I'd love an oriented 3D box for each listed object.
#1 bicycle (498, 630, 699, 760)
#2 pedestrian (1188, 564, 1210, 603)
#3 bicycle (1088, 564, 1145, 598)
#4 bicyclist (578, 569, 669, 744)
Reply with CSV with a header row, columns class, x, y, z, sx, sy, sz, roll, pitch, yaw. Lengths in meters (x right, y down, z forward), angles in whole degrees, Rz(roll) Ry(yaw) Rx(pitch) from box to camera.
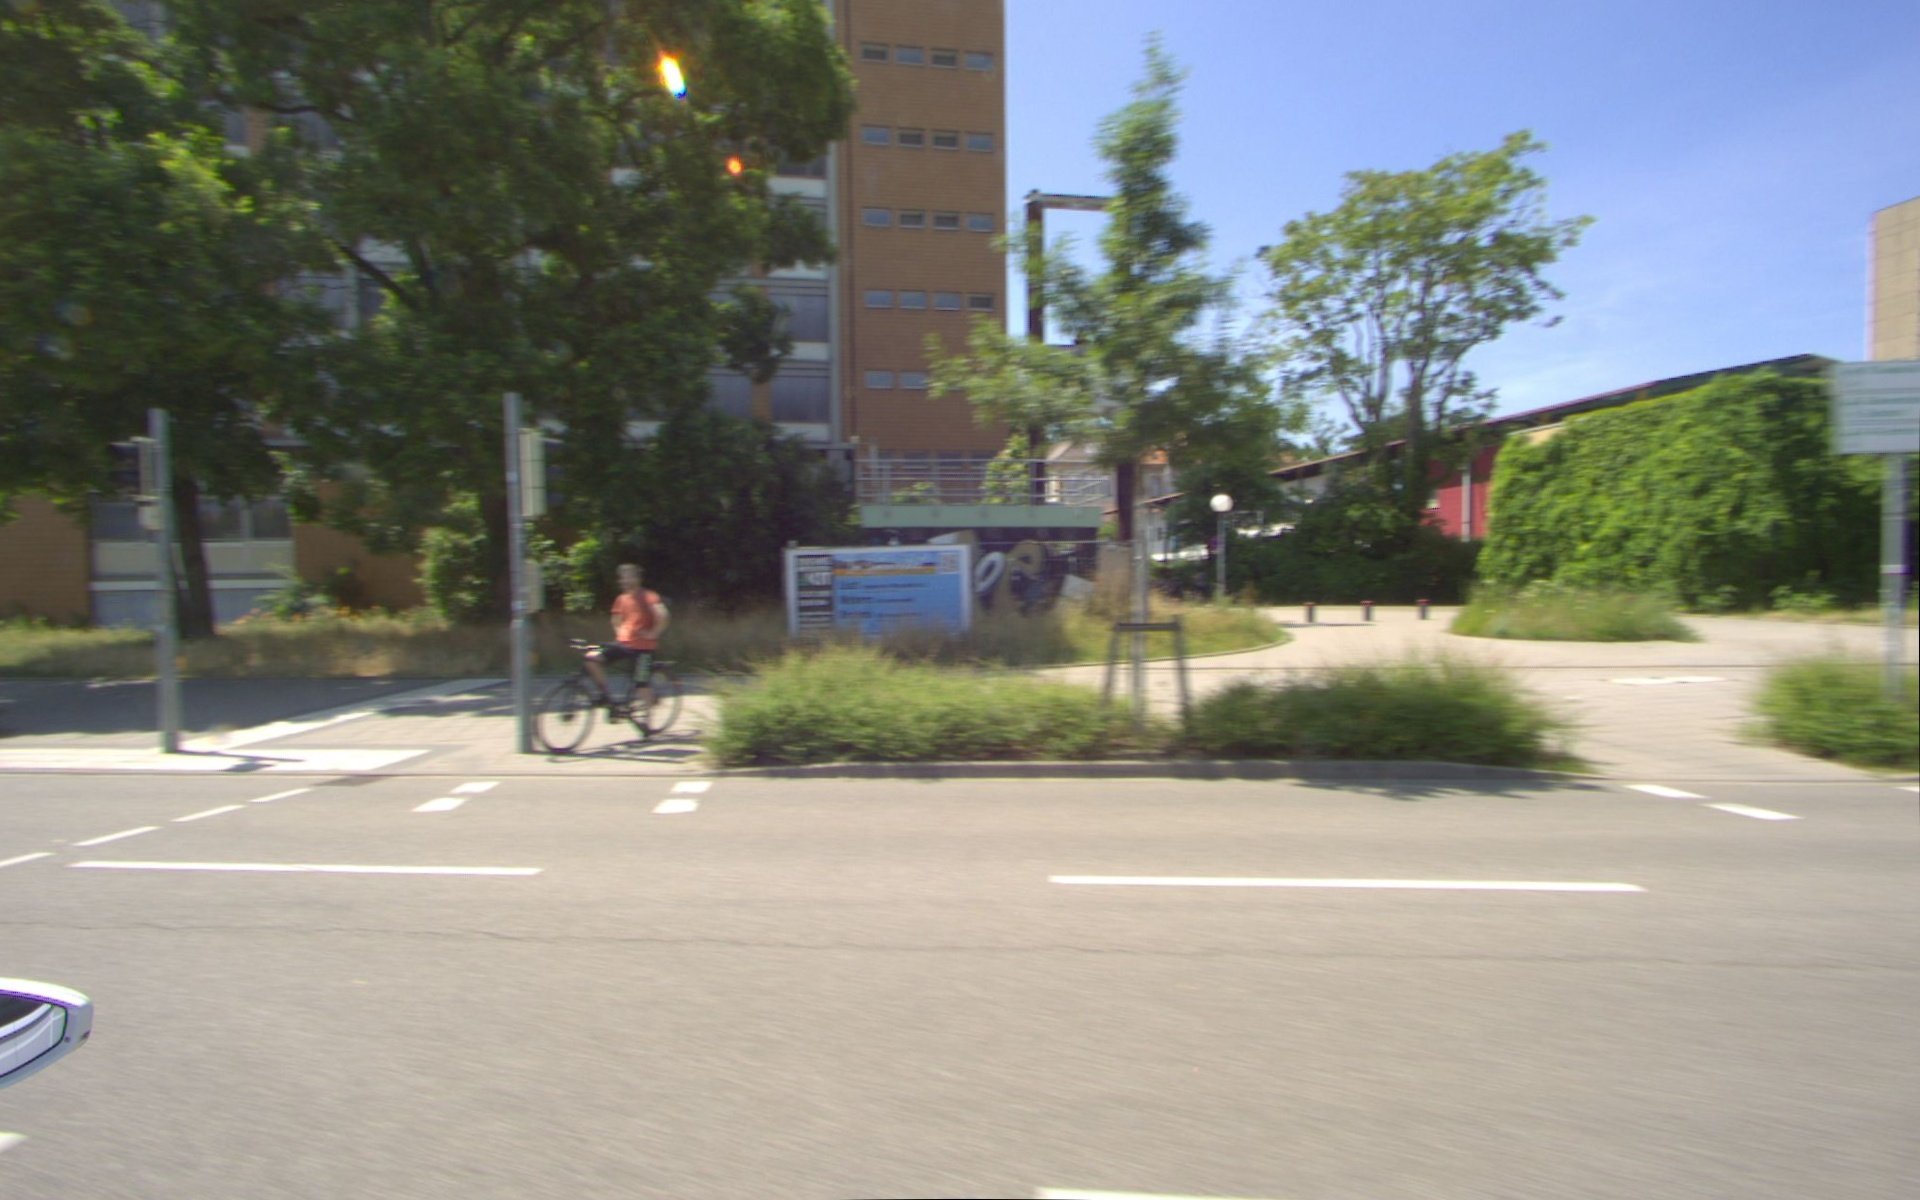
class,x,y,z,sx,sy,sz,roll,pitch,yaw
bicycle,-3.618,0.905,10.210,0.550,1.060,1.985,2,3,33
pedestrian,10.499,-0.708,44.004,0.629,1.688,0.706,1,2,-9
bicycle,9.706,-1.169,62.212,3.392,2.041,0.760,1,2,-6
bicyclist,-3.475,0.549,10.372,0.543,1.740,0.699,2,4,33
